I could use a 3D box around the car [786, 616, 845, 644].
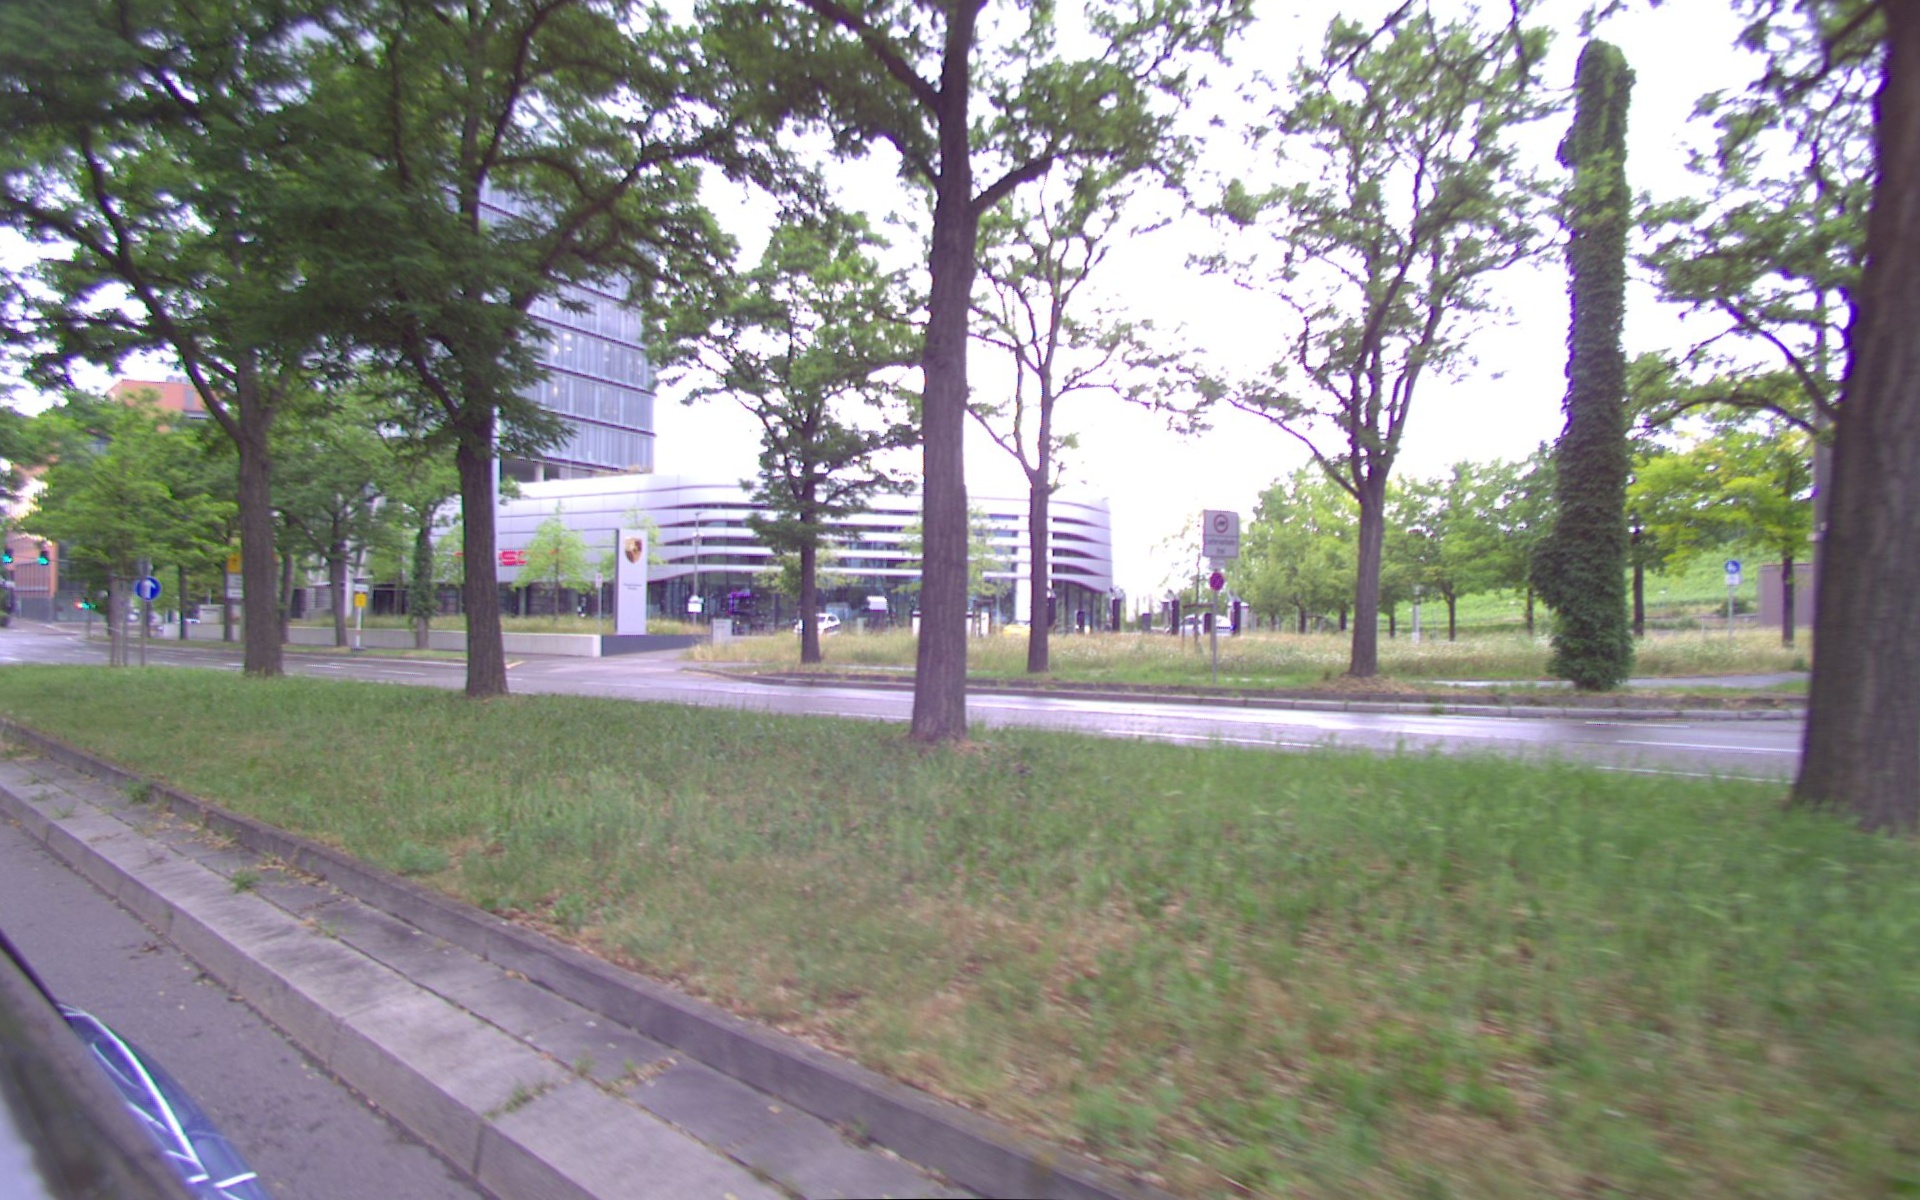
[{"bbox_3d":[-8.093,1.671,57.157,1.764,1.423,3.977,-1,1,17],"label":"car"}]

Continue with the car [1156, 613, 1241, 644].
[{"bbox_3d":[11.119,1.315,47.417,1.592,1.254,4.012,-1,1,-30],"label":"car"}]

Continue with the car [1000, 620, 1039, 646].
[{"bbox_3d":[3.547,1.919,59.878,1.605,1.333,3.982,-1,1,14],"label":"car"}]
